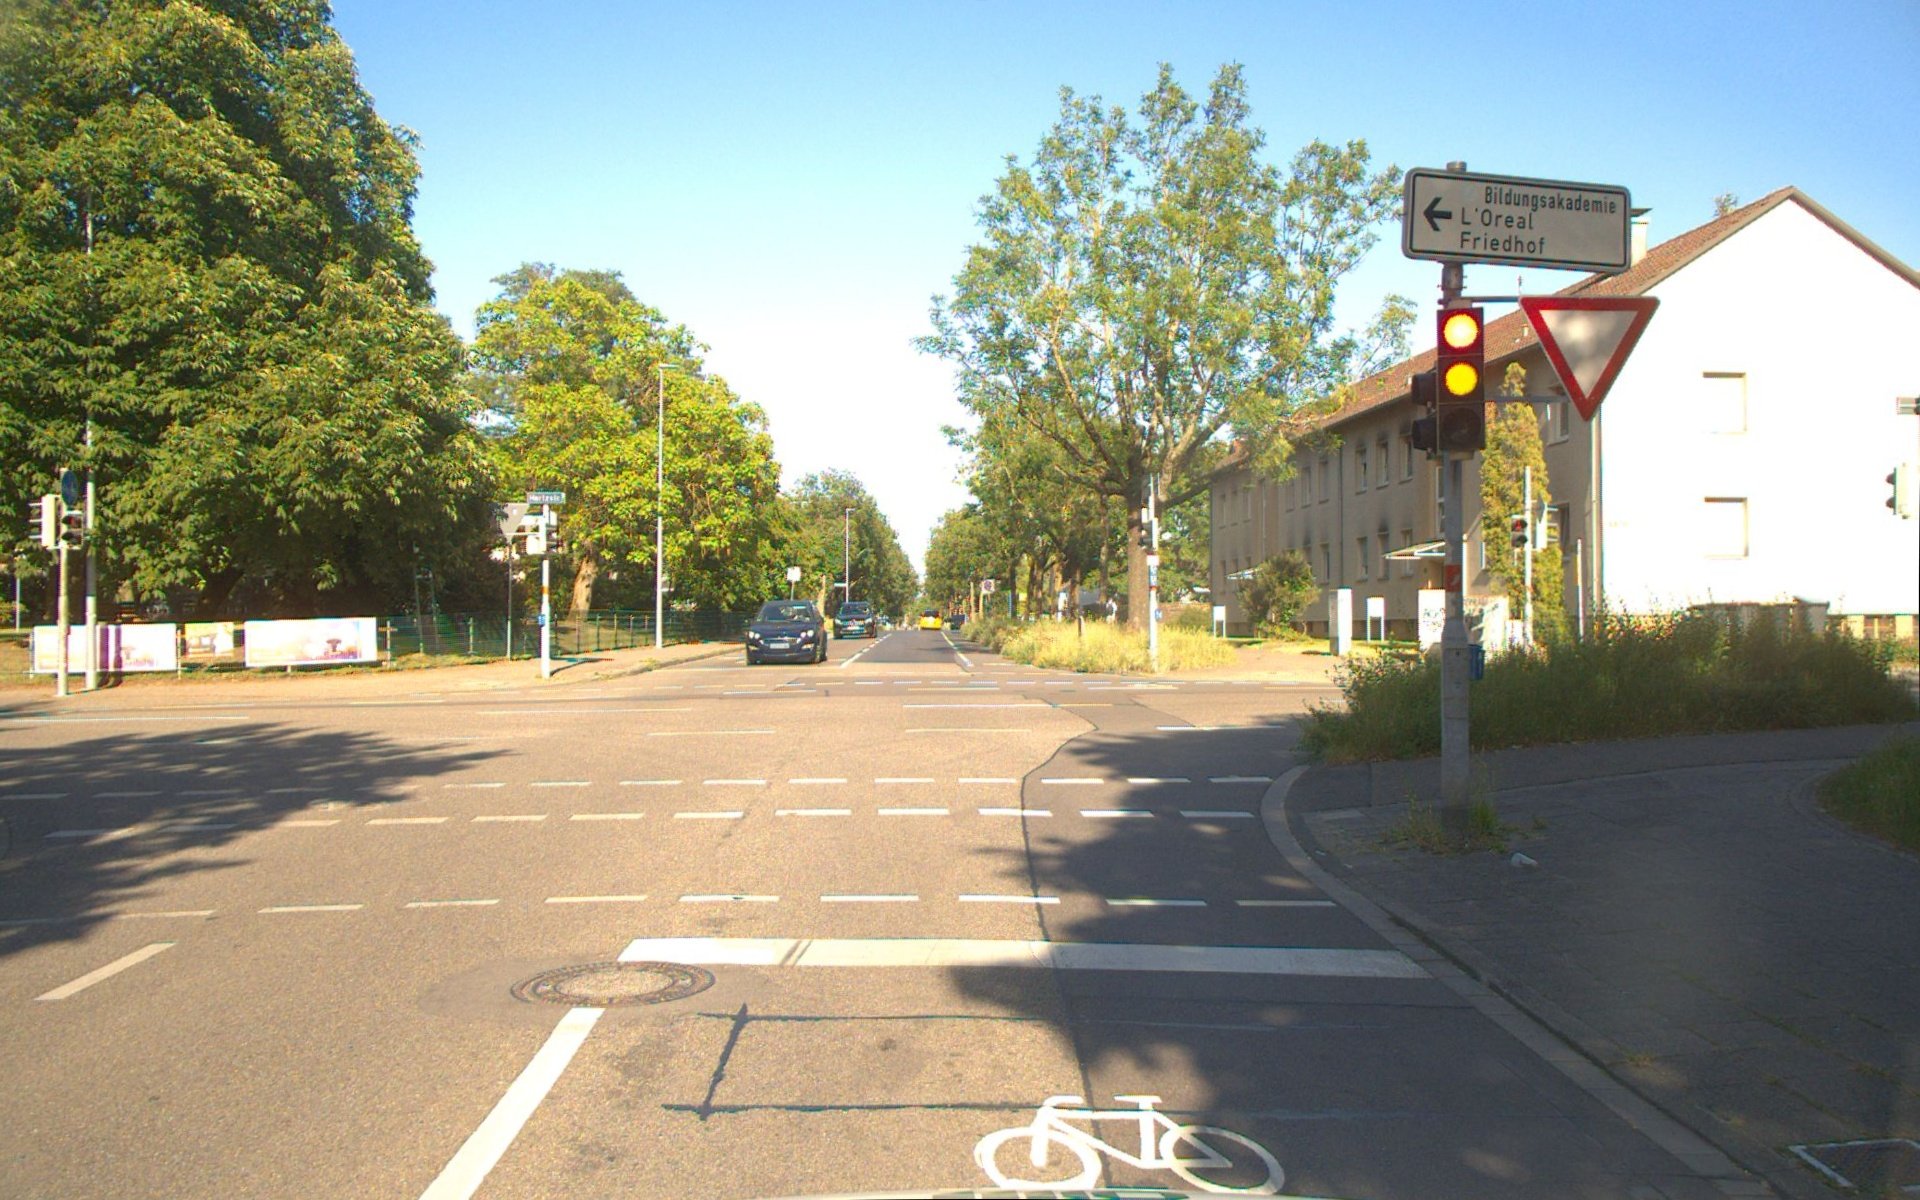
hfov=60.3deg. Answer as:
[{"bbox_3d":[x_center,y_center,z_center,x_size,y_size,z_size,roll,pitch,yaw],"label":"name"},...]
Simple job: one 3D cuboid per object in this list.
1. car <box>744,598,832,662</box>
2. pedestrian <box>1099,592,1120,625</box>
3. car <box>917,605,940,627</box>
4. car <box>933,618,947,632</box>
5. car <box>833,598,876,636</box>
[{"bbox_3d":[-3.957,0.666,38.547,1.676,1.410,3.471,0,0,0],"label":"car"},{"bbox_3d":[6.961,0.388,76.899,0.825,1.519,0.924,2,0,-1],"label":"pedestrian"},{"bbox_3d":[-2.379,1.191,126.050,1.716,1.610,3.999,1,0,-1],"label":"car"},{"bbox_3d":[-2.659,3.339,219.150,1.737,1.785,3.999,1,0,-1],"label":"car"},{"bbox_3d":[-4.690,0.744,73.923,1.722,1.653,3.268,0,0,0],"label":"car"}]
